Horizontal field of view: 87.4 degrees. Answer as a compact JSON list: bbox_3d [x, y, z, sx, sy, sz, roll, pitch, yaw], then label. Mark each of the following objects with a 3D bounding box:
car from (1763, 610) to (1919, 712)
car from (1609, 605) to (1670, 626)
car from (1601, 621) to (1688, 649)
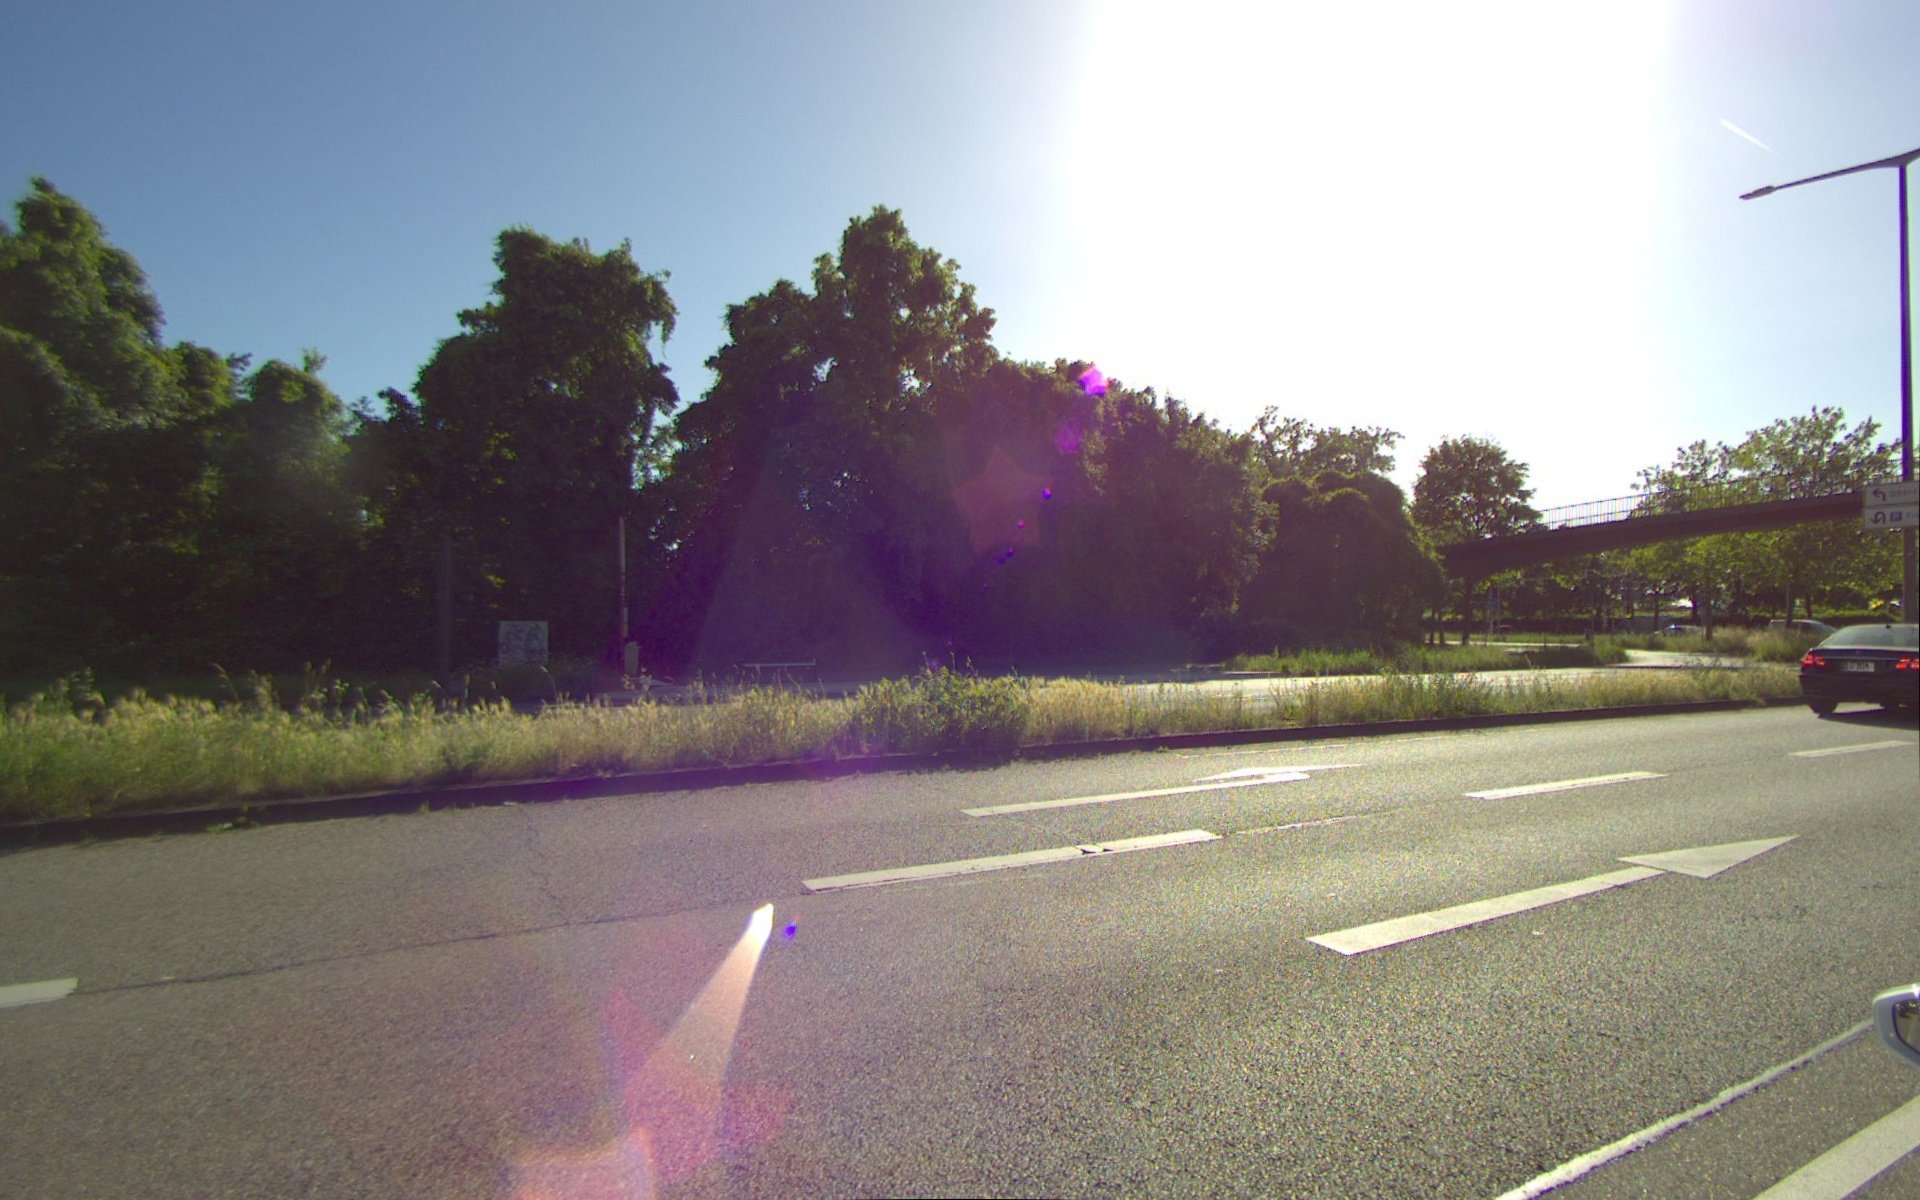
[{"bbox_3d":[15.850,0.946,16.716,4.851,1.502,1.953,1,-2,-25],"label":"car"},{"bbox_3d":[69.385,1.573,102.628,1.977,2.040,4.763,1,-1,-30],"label":"car"},{"bbox_3d":[42.442,2.144,62.395,1.966,1.672,4.310,1,-1,-13],"label":"car"}]
